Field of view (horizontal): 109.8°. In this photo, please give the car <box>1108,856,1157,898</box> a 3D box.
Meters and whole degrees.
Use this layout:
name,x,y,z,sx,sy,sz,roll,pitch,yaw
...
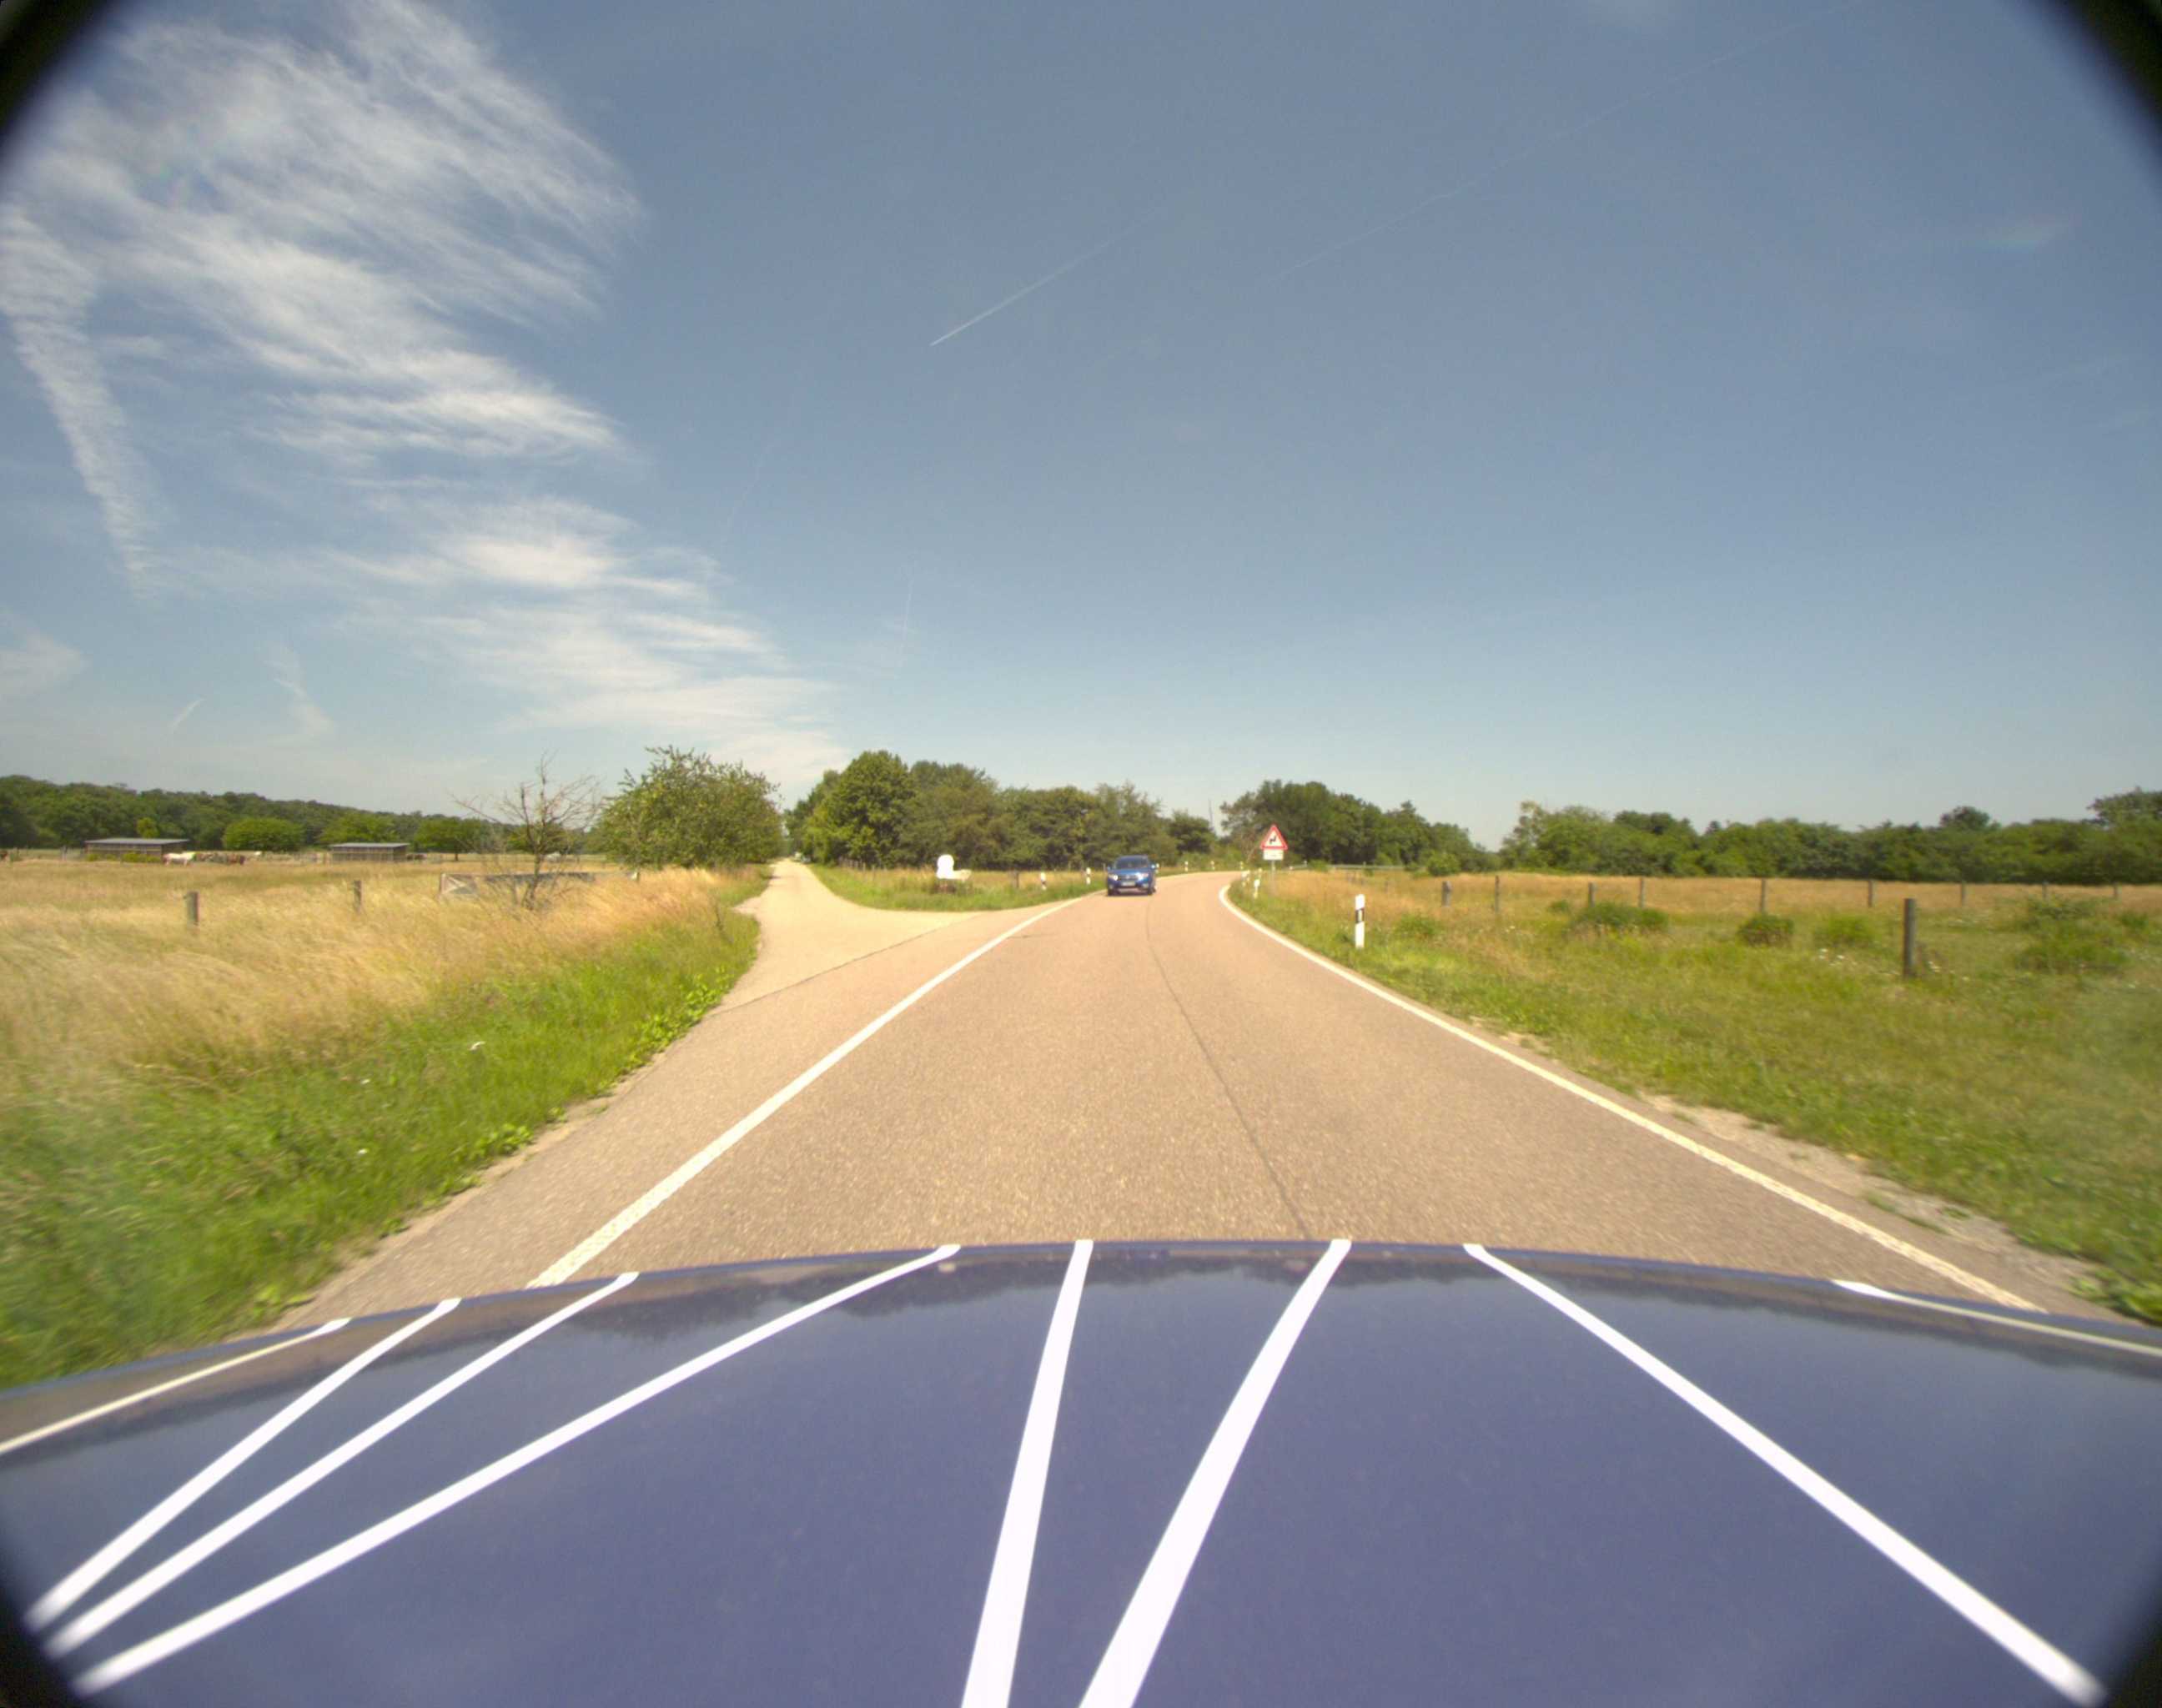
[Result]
name,x,y,z,sx,sy,sz,roll,pitch,yaw
car,2.135,0.869,30.658,1.733,1.572,4.002,-1,0,7
